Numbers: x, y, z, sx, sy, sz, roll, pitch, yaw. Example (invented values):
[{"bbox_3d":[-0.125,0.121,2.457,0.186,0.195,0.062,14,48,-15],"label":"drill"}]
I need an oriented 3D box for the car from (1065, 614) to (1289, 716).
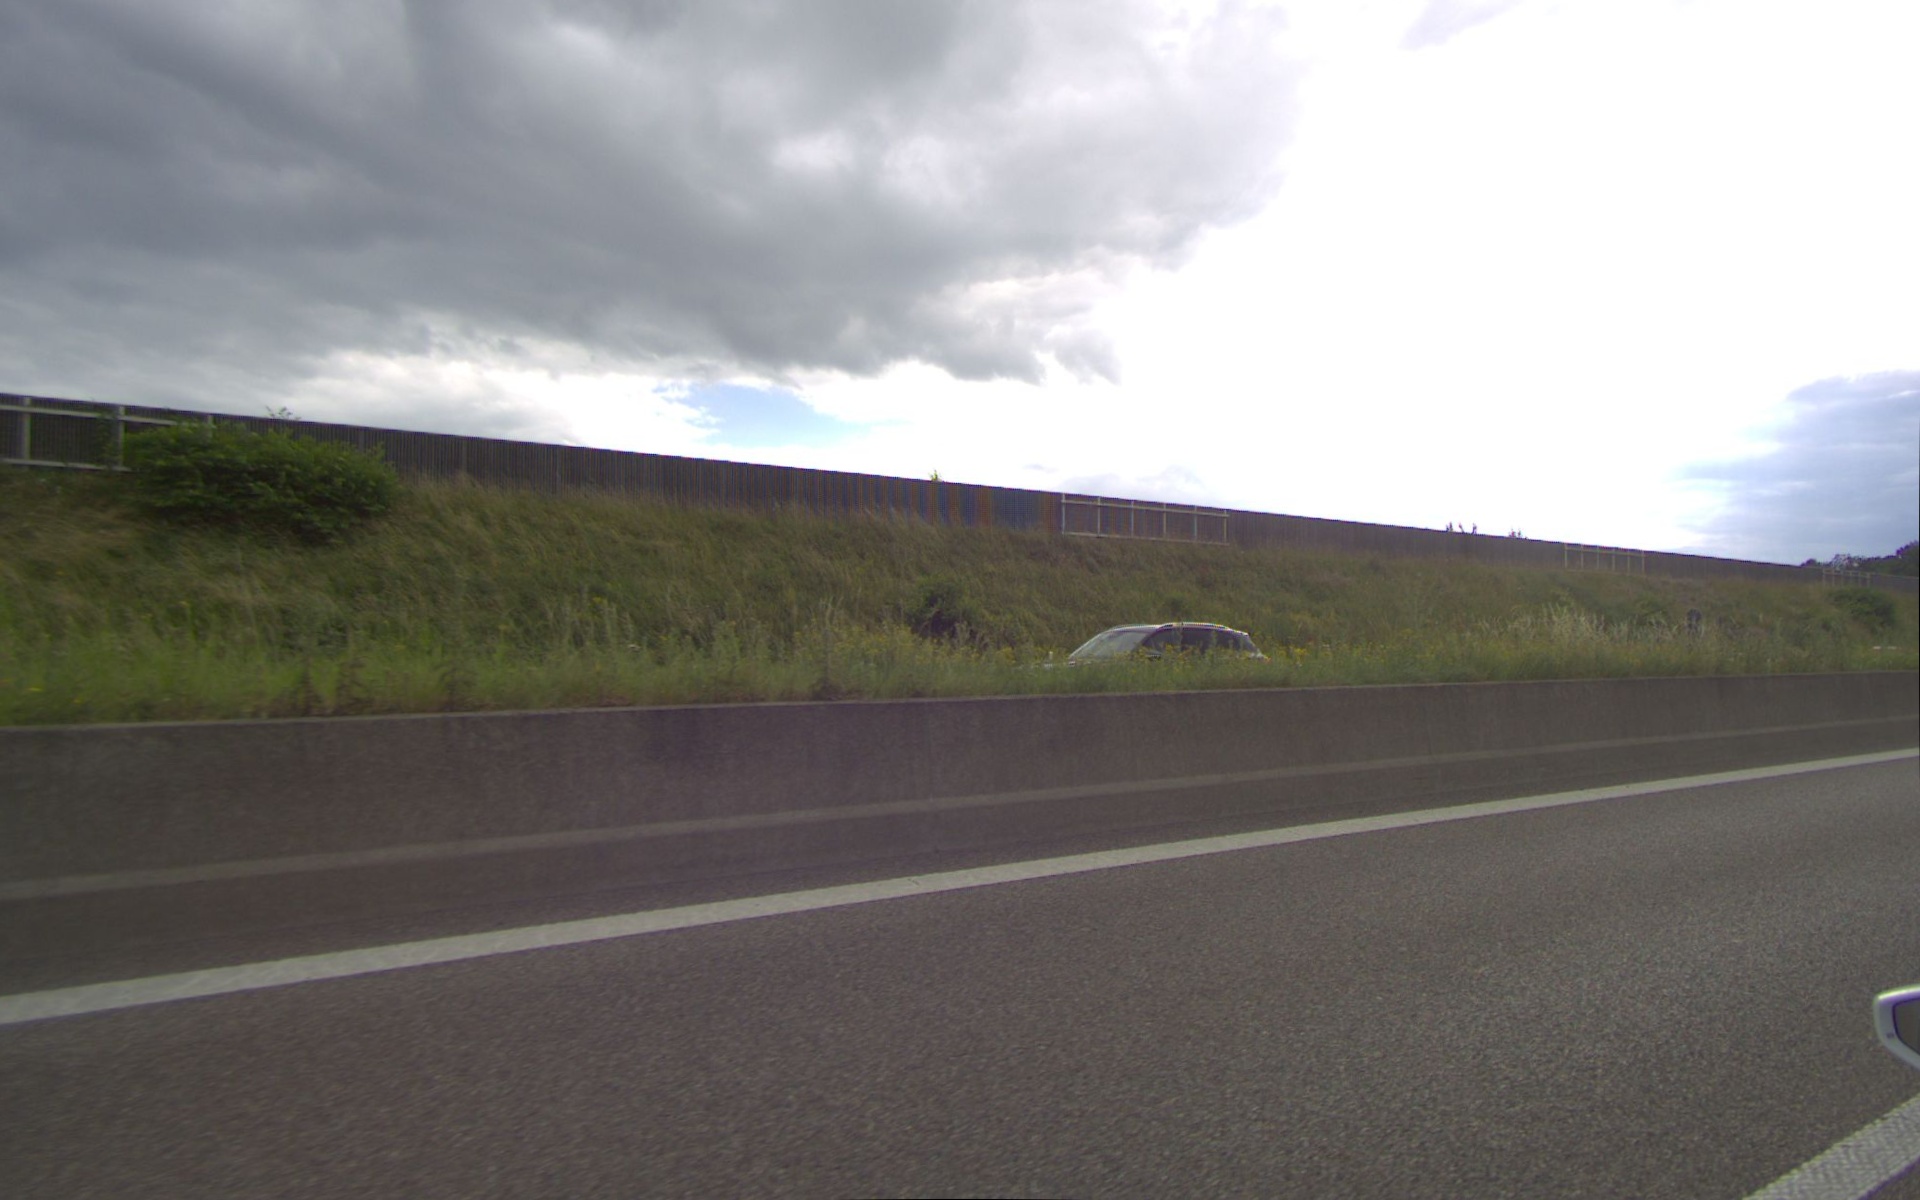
[{"bbox_3d":[3.420,0.955,15.749,3.295,1.407,1.527,1,0,-31],"label":"car"}]
